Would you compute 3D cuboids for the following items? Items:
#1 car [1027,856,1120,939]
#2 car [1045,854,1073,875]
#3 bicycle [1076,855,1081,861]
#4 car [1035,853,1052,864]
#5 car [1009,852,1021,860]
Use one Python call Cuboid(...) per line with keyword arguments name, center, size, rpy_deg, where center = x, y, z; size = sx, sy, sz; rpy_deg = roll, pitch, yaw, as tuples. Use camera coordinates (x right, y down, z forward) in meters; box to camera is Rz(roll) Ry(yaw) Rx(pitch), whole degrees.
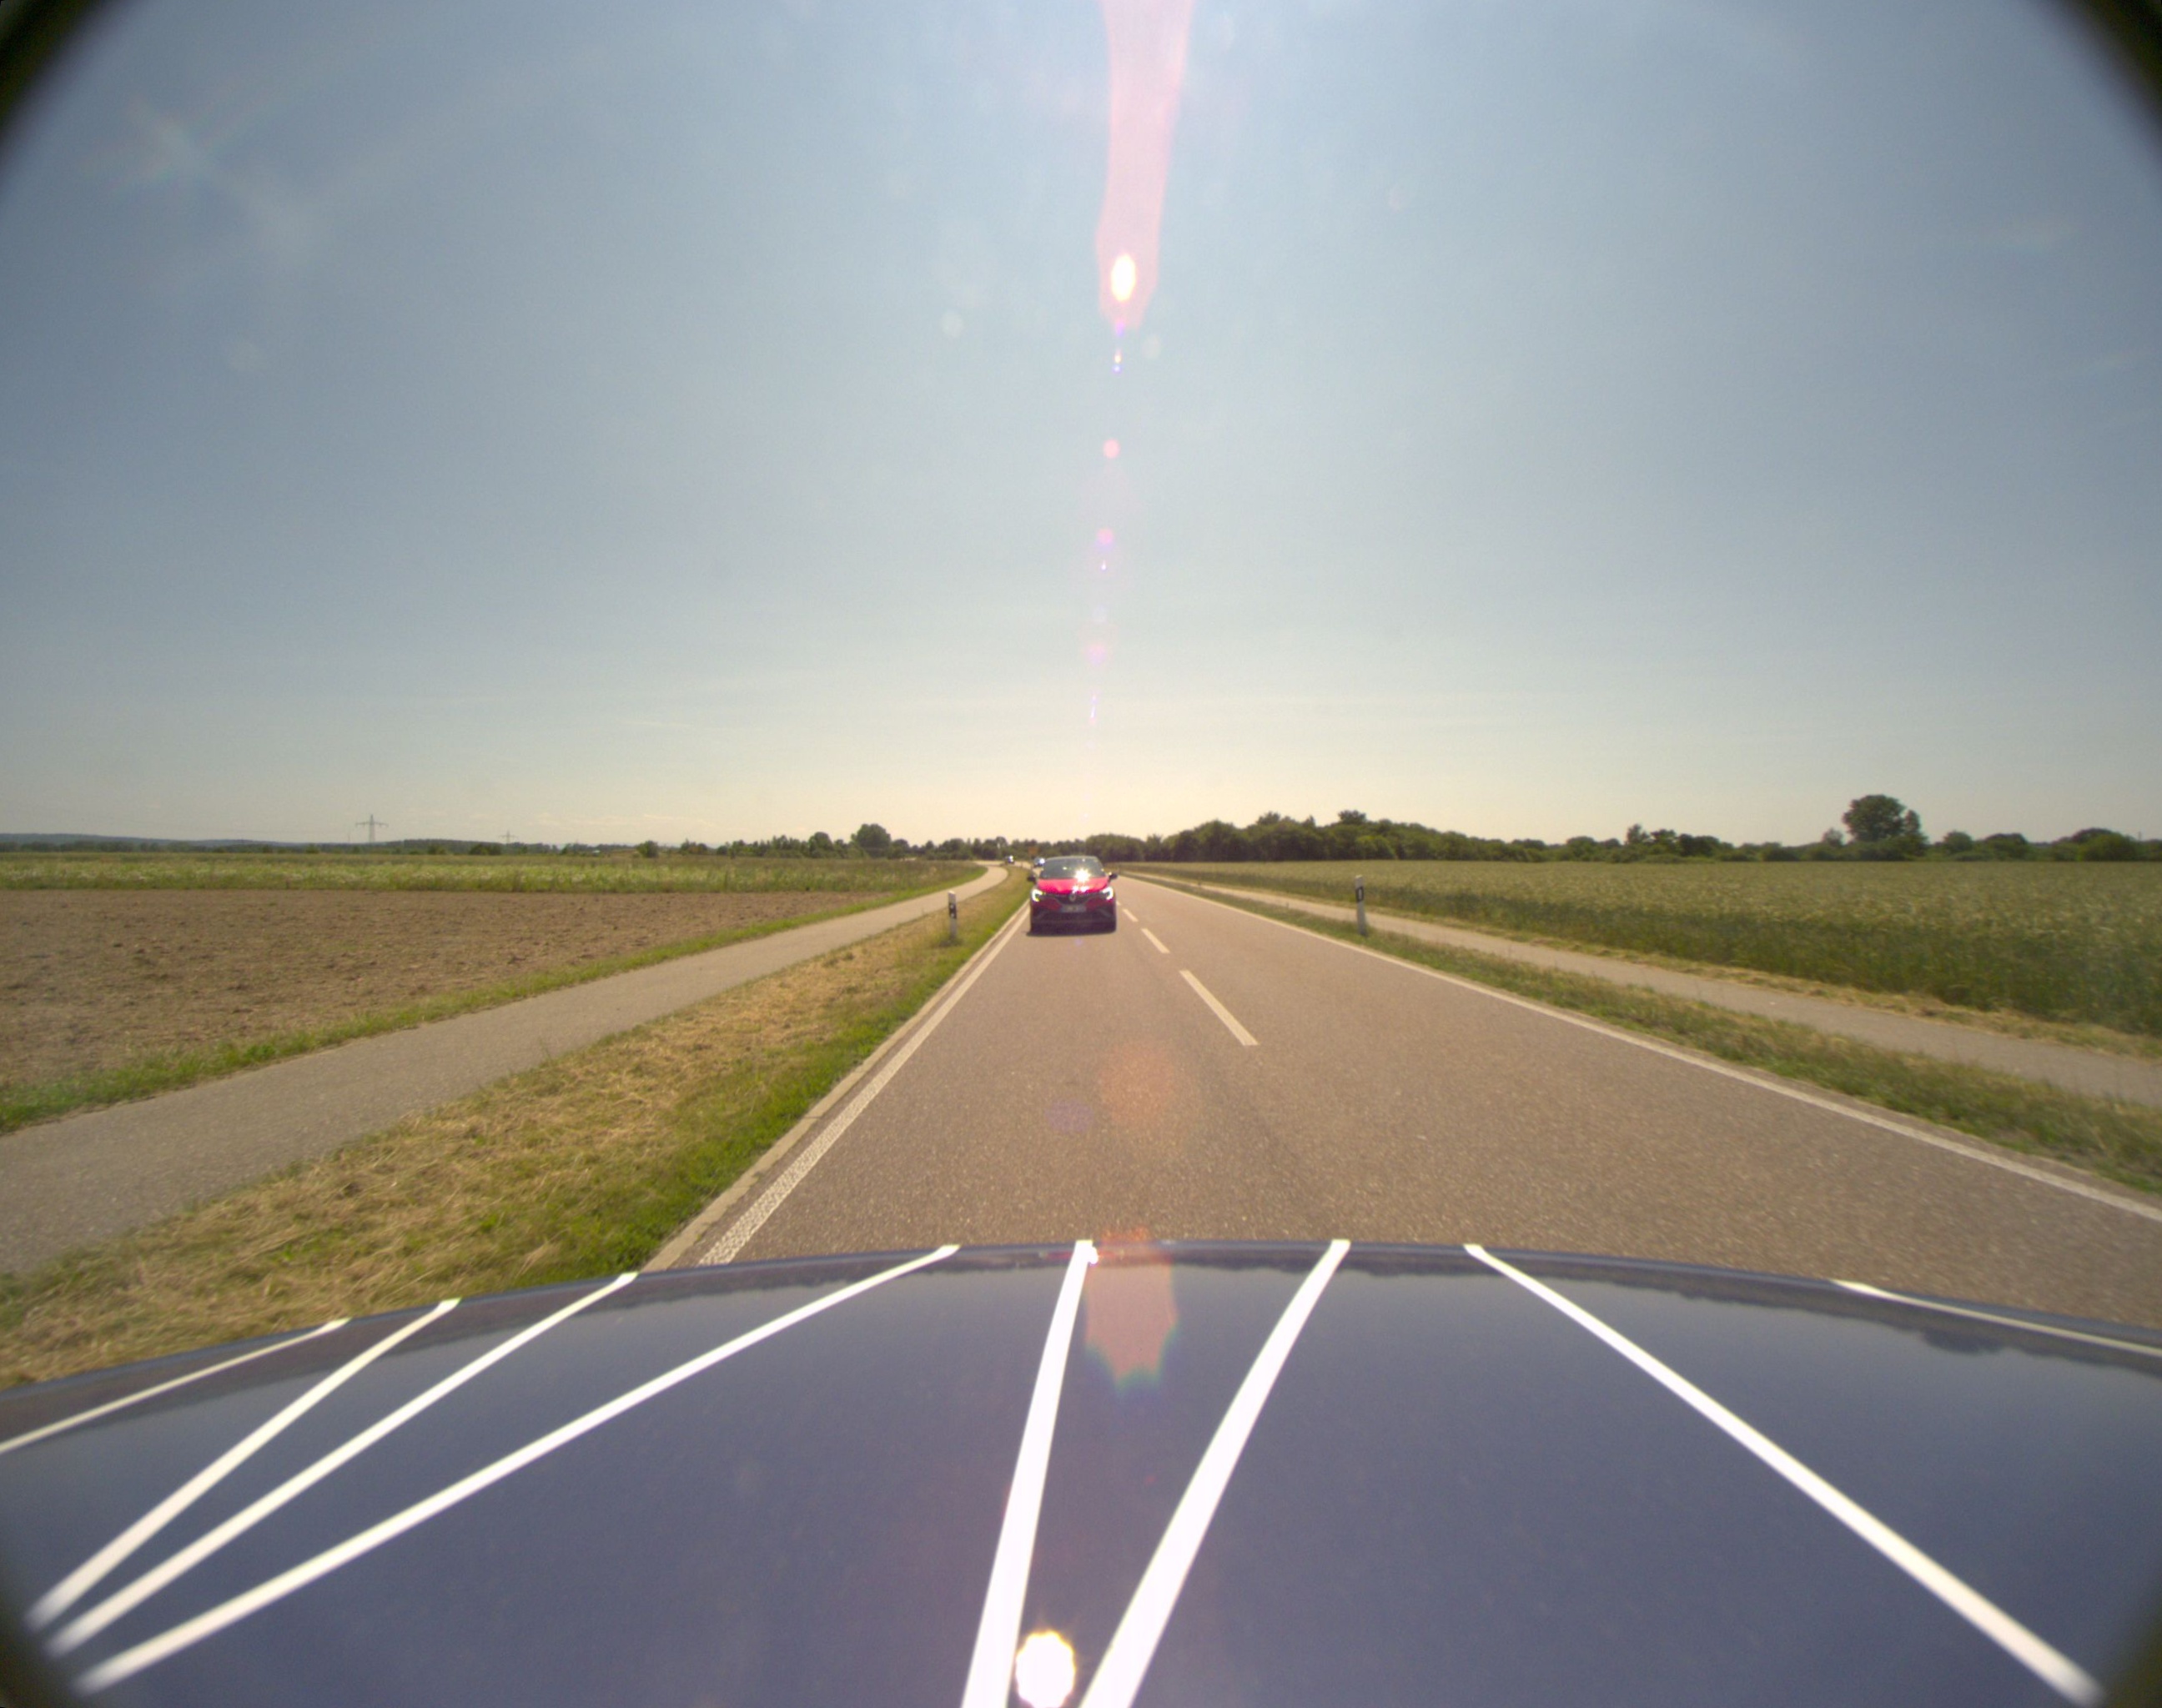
Cuboid(name="car", center=(-0.152, 0.872, 17.568), size=(1.837, 1.587, 4.721), rpy_deg=(-1, 0, 0))
Cuboid(name="car", center=(-1.817, 0.809, 62.088), size=(1.984, 1.587, 5.399), rpy_deg=(-1, 0, -4))
Cuboid(name="bicycle", center=(-0.459, 0.792, 140.540), size=(0.696, 1.169, 1.962), rpy_deg=(0, 0, -8))
Cuboid(name="car", center=(-5.448, 0.616, 109.724), size=(1.984, 1.587, 5.398), rpy_deg=(-1, 0, -8))
Cuboid(name="car", center=(-14.407, 0.457, 165.336), size=(1.985, 1.587, 5.396), rpy_deg=(-1, 0, -11))
